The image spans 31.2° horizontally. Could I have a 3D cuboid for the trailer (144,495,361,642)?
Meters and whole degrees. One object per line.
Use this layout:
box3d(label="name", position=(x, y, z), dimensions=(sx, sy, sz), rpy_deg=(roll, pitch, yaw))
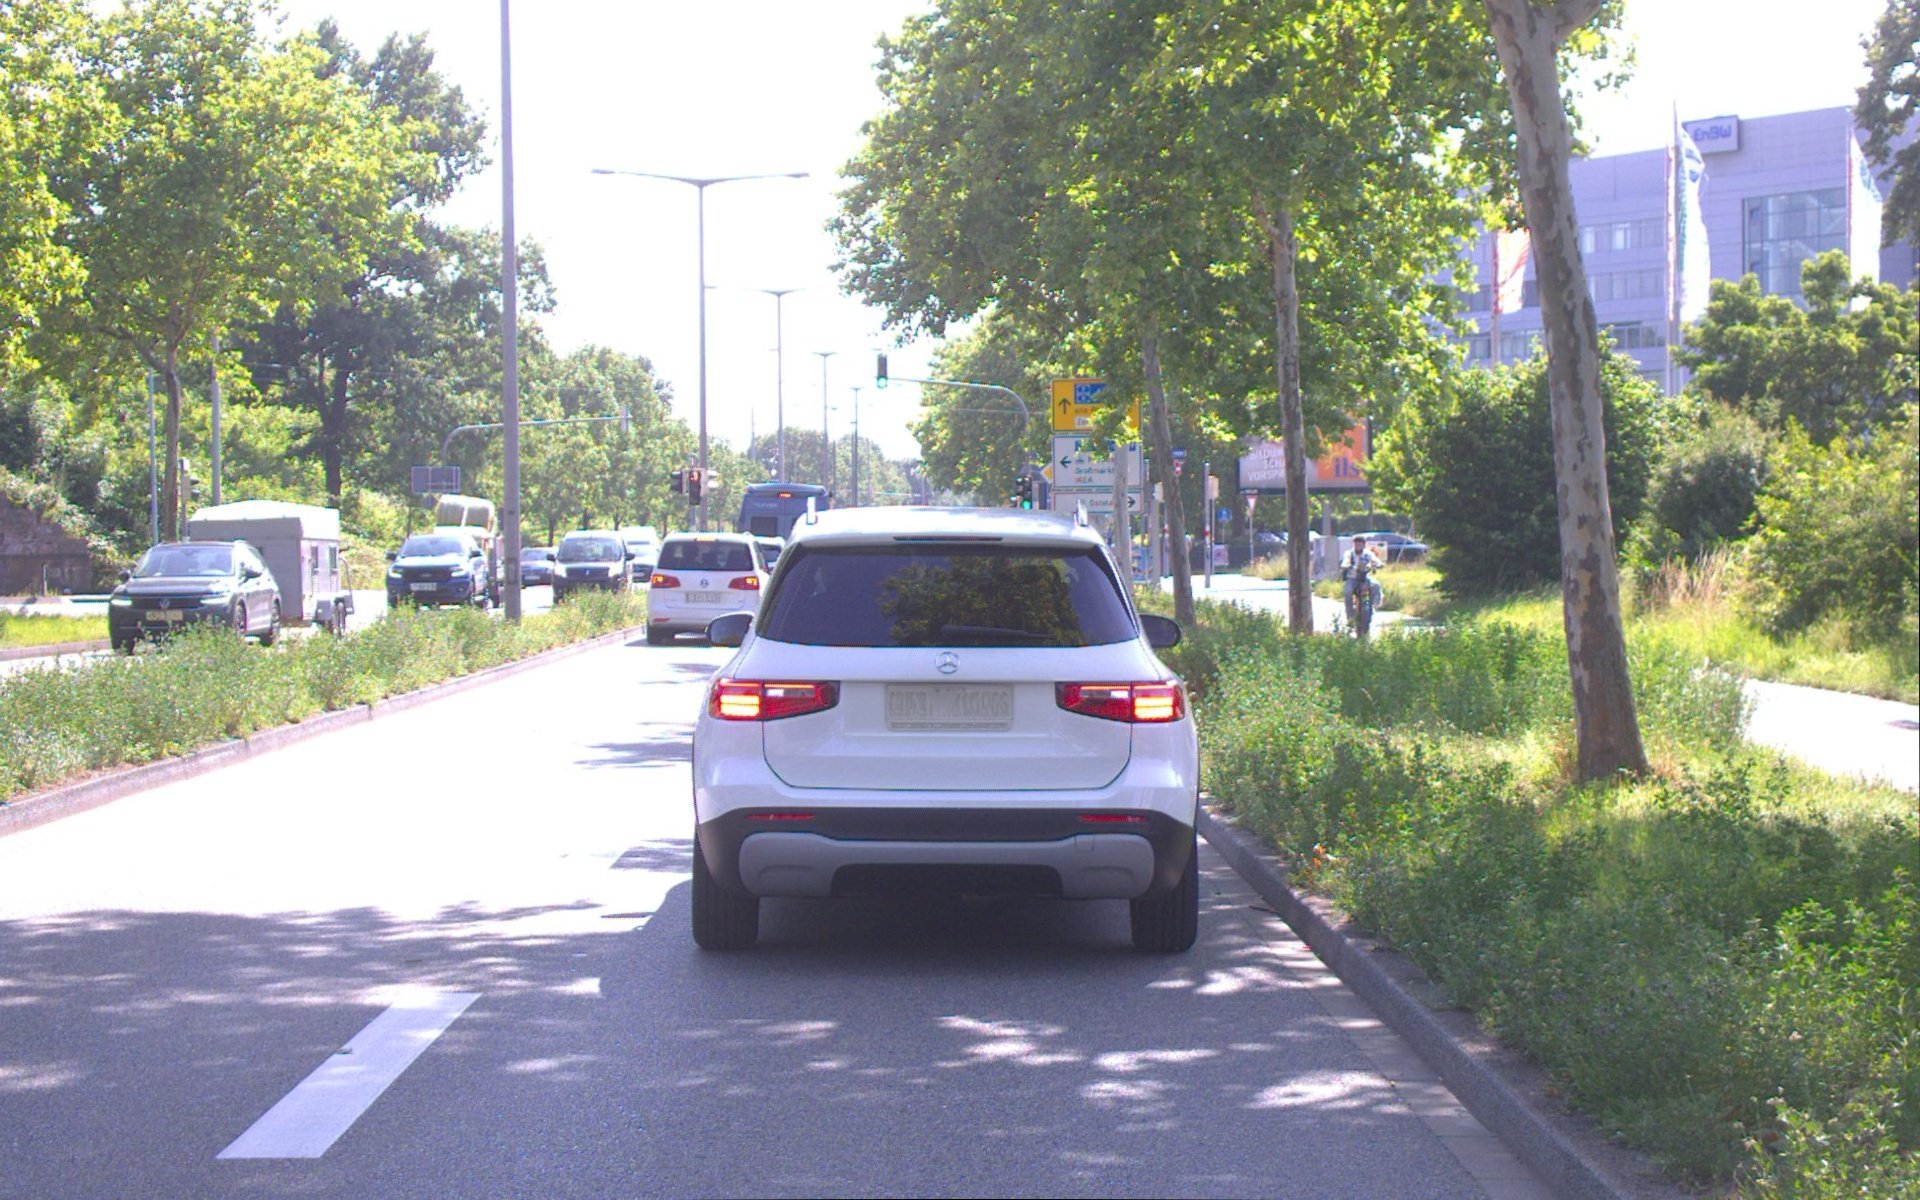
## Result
box3d(label="trailer", position=(-11.322, -0.516, 55.437), dimensions=(2.309, 2.257, 5.538), rpy_deg=(0, 1, 0))

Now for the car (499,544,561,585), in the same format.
box3d(label="car", position=(-14.557, -1.215, 116.460), dimensions=(1.701, 1.360, 3.646), rpy_deg=(1, 1, -1))

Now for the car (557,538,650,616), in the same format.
box3d(label="car", position=(-8.602, -0.577, 83.208), dimensions=(1.731, 1.803, 4.232), rpy_deg=(1, 1, 0))

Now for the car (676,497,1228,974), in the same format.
box3d(label="car", position=(-0.148, 0.431, 13.680), dimensions=(1.853, 1.602, 4.001), rpy_deg=(1, 1, -4))

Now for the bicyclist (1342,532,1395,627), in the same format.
box3d(label="bicyclist", position=(6.440, -0.325, 54.186), dimensions=(0.704, 1.472, 1.010), rpy_deg=(1, 1, 0))

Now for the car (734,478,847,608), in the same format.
box3d(label="car", position=(-3.576, -1.201, 73.220), dimensions=(2.081, 2.647, 4.874), rpy_deg=(1, 1, 0))

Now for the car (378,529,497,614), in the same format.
box3d(label="car", position=(-11.562, -0.648, 76.352), dimensions=(1.764, 1.783, 5.376), rpy_deg=(1, 1, 0))

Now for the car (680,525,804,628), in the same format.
box3d(label="car", position=(-3.597, -0.410, 57.281), dimensions=(1.771, 1.641, 4.084), rpy_deg=(1, 1, 0))

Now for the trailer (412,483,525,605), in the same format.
box3d(label="trailer", position=(-11.507, -1.306, 80.828), dimensions=(1.880, 2.734, 4.829), rpy_deg=(1, 1, 0))

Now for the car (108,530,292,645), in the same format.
box3d(label="car", position=(-11.101, -0.199, 50.478), dimensions=(1.715, 1.616, 4.361), rpy_deg=(0, 1, 0))

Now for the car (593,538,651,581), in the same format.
box3d(label="car", position=(-11.737, -1.421, 119.490), dimensions=(1.603, 1.467, 3.790), rpy_deg=(1, 1, 0))

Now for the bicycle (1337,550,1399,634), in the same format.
box3d(label="bicycle", position=(6.419, -0.133, 54.193), dimensions=(0.723, 1.294, 2.096), rpy_deg=(1, 1, 0))

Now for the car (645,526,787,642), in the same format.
box3d(label="car", position=(-3.596, -0.259, 51.241), dimensions=(1.771, 1.641, 4.352), rpy_deg=(1, 1, 0))
